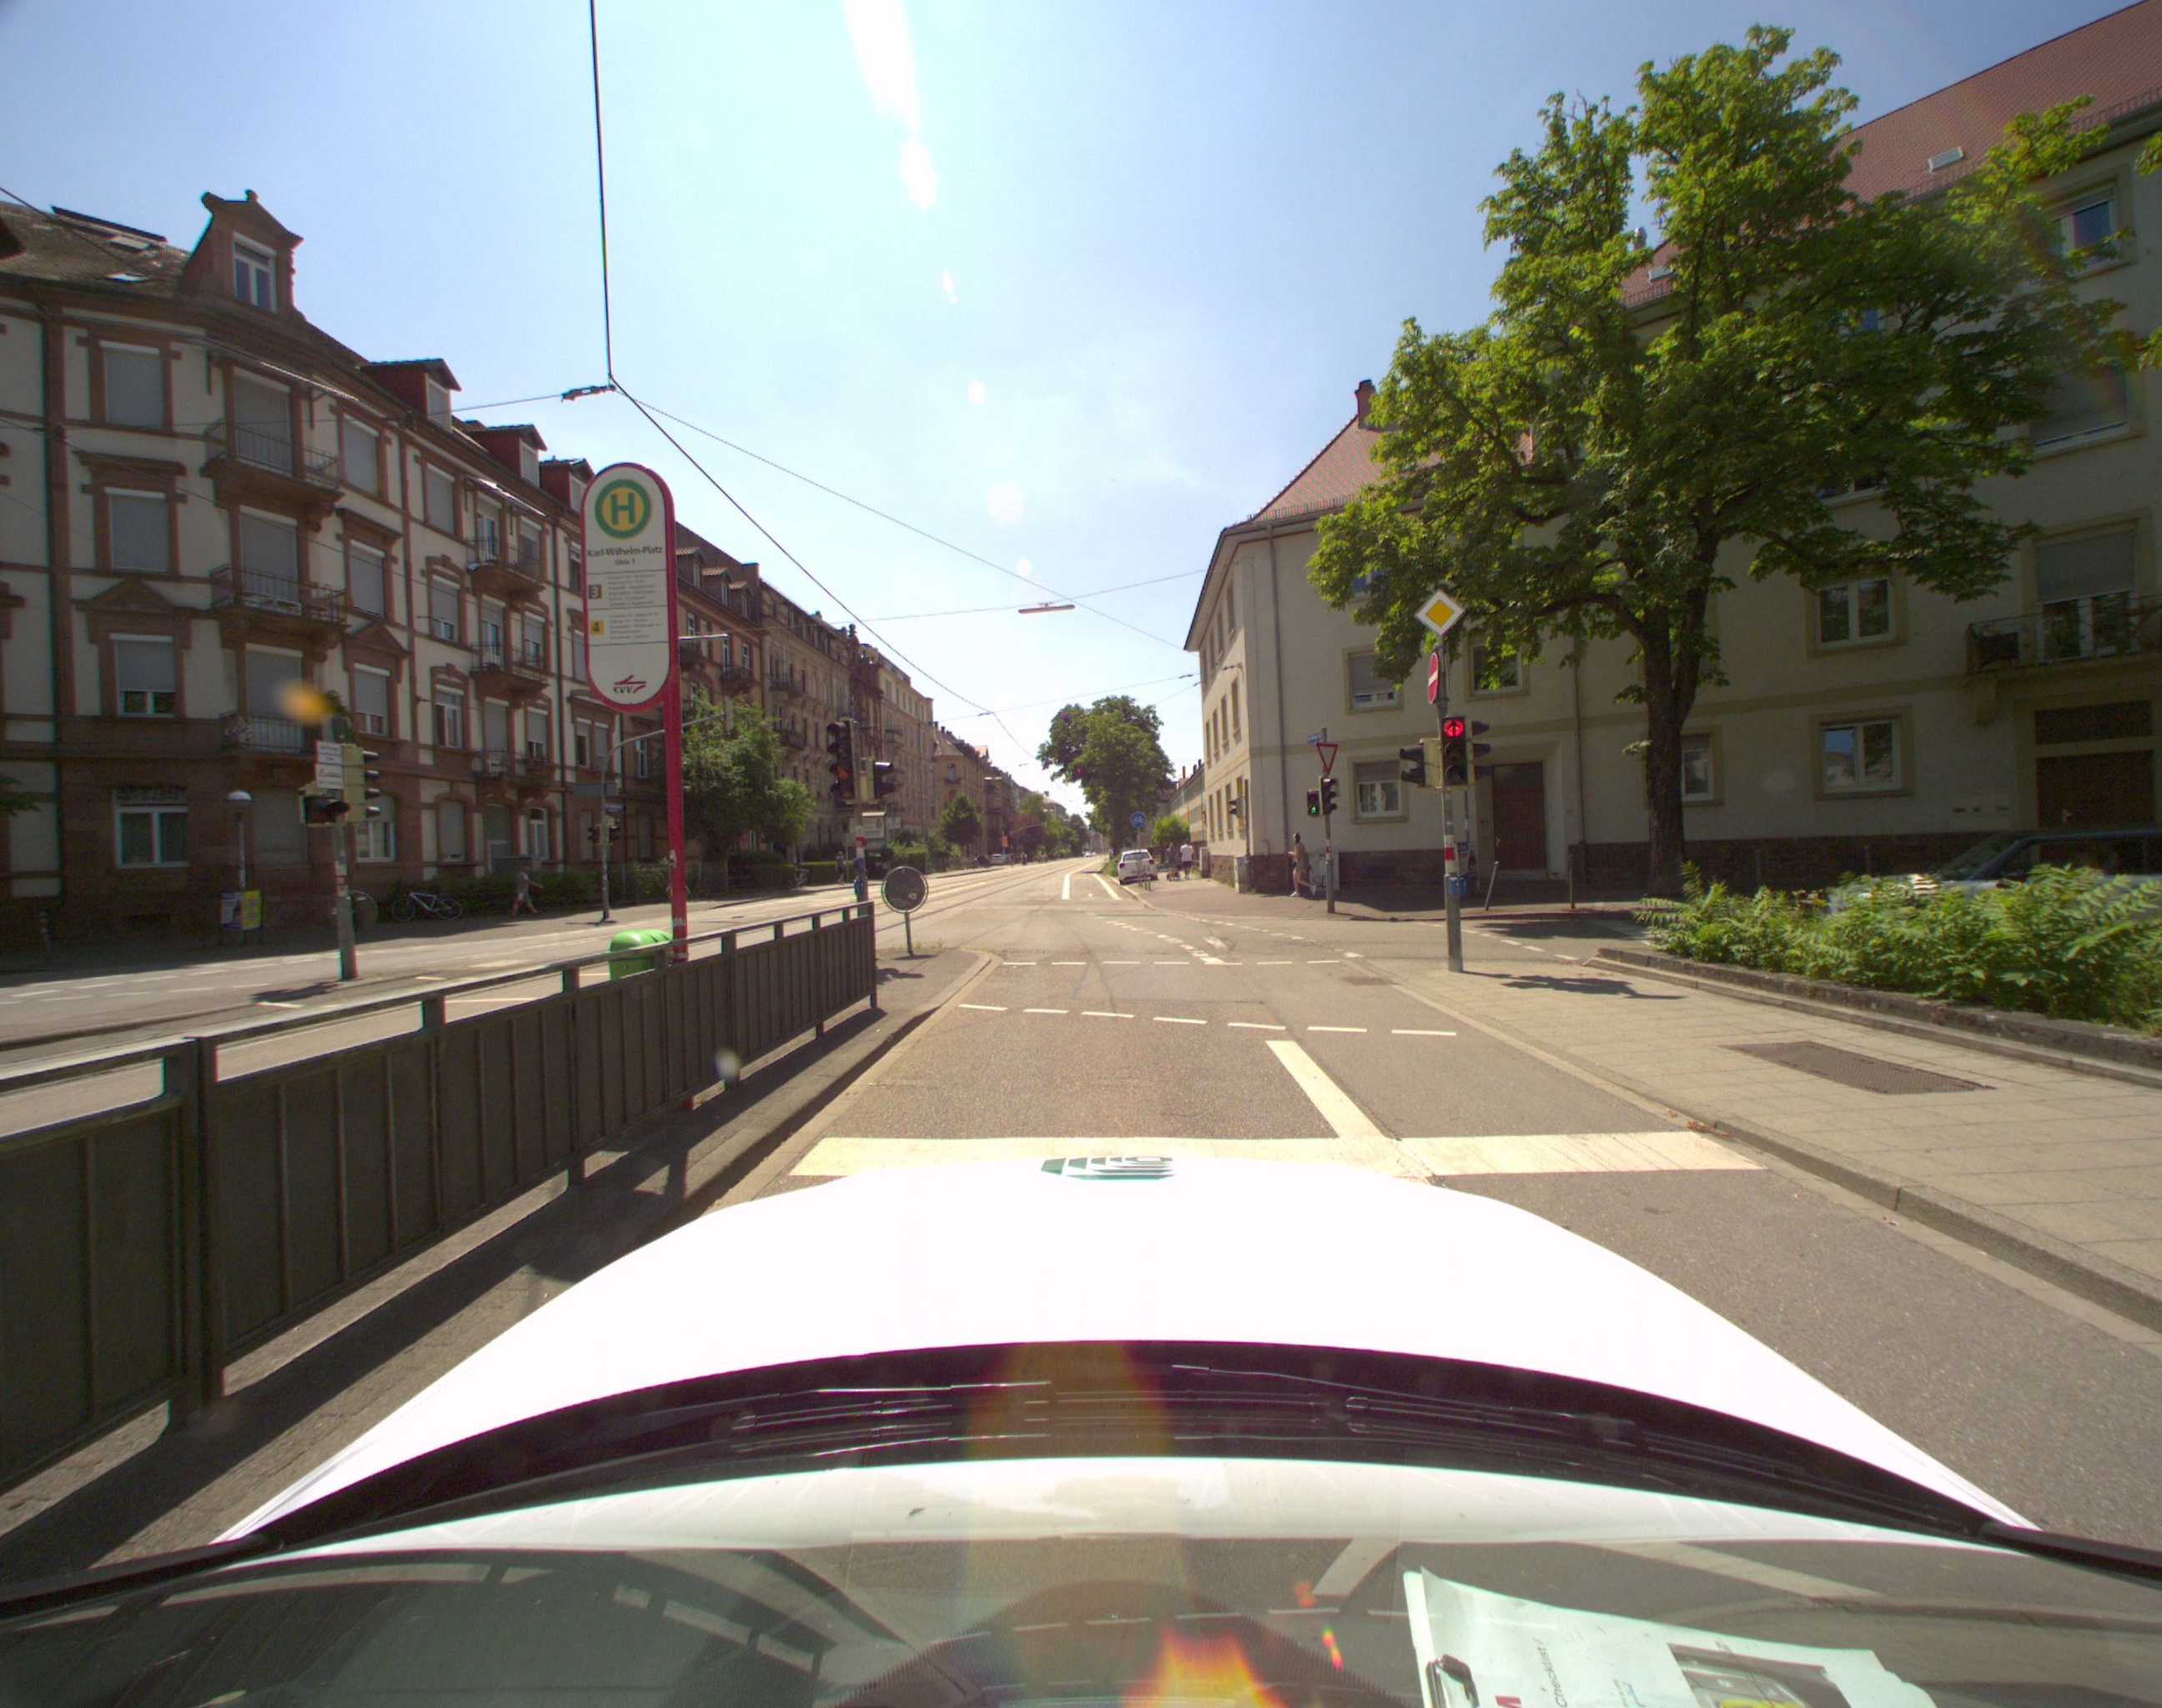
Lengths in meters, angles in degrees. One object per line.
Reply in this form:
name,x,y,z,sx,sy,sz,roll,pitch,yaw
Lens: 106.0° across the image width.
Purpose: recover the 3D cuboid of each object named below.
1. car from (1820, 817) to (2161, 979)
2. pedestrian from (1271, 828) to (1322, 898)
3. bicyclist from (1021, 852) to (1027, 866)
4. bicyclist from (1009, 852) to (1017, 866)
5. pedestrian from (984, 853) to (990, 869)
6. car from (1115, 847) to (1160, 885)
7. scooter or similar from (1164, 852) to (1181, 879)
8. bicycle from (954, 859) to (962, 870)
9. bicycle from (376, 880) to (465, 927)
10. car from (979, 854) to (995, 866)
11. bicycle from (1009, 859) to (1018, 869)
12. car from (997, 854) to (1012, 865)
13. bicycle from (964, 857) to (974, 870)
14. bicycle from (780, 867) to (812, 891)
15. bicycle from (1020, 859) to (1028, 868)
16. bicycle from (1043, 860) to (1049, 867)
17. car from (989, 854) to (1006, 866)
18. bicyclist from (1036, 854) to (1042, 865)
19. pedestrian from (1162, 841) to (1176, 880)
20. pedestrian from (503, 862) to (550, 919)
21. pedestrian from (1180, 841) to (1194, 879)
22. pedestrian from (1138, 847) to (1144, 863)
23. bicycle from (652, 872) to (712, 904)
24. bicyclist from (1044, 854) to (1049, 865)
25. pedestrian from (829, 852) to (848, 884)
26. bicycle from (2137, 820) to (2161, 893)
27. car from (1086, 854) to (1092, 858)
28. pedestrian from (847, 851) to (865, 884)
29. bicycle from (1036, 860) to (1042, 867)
car,10.297,0.394,8.582,1.716,1.506,3.607,-2,1,-45
pedestrian,5.671,0.240,21.412,1.044,1.690,0.657,-6,3,24
bicyclist,-7.524,0.690,107.333,0.724,1.768,1.080,0,-1,3
bicyclist,-7.942,0.604,95.348,0.724,1.629,1.080,0,-1,3
pedestrian,-10.362,0.770,90.041,0.519,1.659,0.529,-2,0,1
car,2.522,0.534,37.393,1.808,1.516,4.001,-4,-1,2
scooter or similar,3.986,0.502,35.593,0.552,1.155,1.210,-1,-1,15
bicycle,-12.158,1.033,80.491,0.677,1.064,1.912,-2,0,-9
bicycle,-19.557,1.444,24.152,0.557,1.294,1.975,-1,-1,43
car,-14.338,0.897,124.459,1.912,1.715,4.001,0,-1,2
bicycle,-7.932,1.129,95.337,0.724,1.123,2.087,0,-1,4
car,-11.665,0.876,124.321,1.912,1.715,4.001,0,-1,2
bicycle,-11.714,0.959,85.128,0.675,1.278,1.918,-2,0,-1
bicycle,-14.383,1.259,41.250,0.936,1.136,2.767,0,-1,-7
bicycle,-7.521,1.272,107.202,0.724,1.123,2.087,0,-1,4
bicycle,-5.534,1.459,130.304,0.724,1.123,2.087,0,-1,4
car,-11.885,0.811,116.057,1.912,1.715,4.001,0,-1,2
bicyclist,-6.699,0.875,130.362,0.724,1.818,1.080,0,-1,3
pedestrian,3.743,0.260,34.650,0.554,1.645,0.678,0,-1,7
pedestrian,-17.267,1.118,25.344,1.068,1.689,0.714,-2,0,-43
pedestrian,4.547,0.256,34.975,0.554,1.645,0.678,0,-1,7
pedestrian,5.816,0.072,78.614,0.519,1.562,0.573,-2,0,1
bicycle,-15.673,1.306,32.074,0.934,1.136,2.774,0,-1,1
bicyclist,-5.530,0.852,130.300,0.724,1.818,1.080,0,-1,3
pedestrian,-13.866,0.791,46.532,0.814,1.822,0.872,0,1,-3
bicycle,17.008,0.023,12.077,0.527,1.104,1.589,-2,0,-34
car,2.317,0.604,245.131,1.699,1.277,4.001,0,0,2
pedestrian,-12.968,0.773,46.988,0.814,1.822,0.872,0,1,-3
bicycle,-6.702,1.477,130.316,0.724,1.123,2.087,0,-1,4
